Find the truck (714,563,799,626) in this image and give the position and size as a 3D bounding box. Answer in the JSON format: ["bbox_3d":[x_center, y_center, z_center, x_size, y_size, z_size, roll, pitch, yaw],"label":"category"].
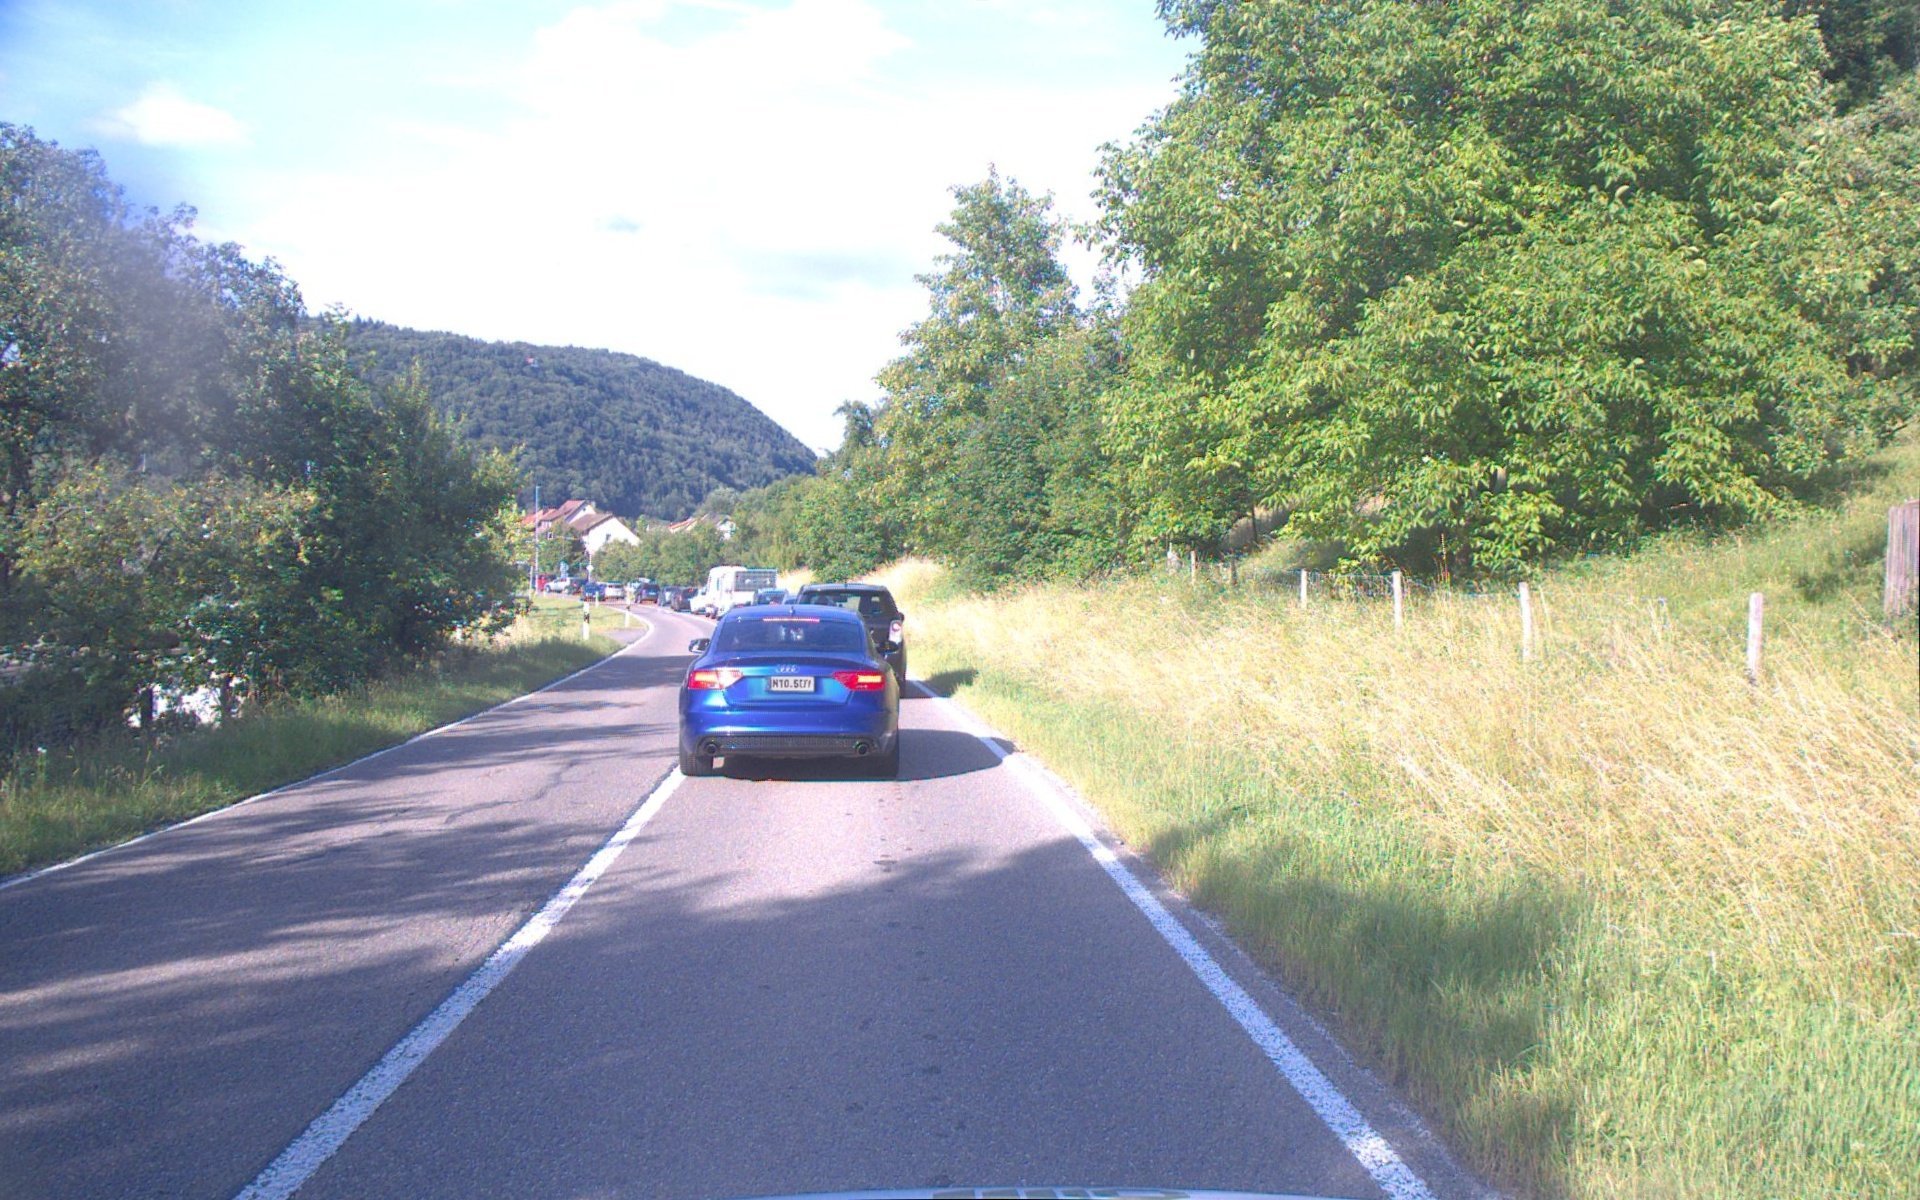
[{"bbox_3d":[-9.608,-0.262,77.085,2.815,2.712,10.358,1,0,-13],"label":"truck"}]

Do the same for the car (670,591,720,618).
[{"bbox_3d":[-15.288,0.249,95.195,1.966,1.508,3.972,1,0,-23],"label":"car"}]

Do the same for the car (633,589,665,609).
[{"bbox_3d":[-24.669,-0.060,131.256,1.963,1.508,3.978,1,0,-19],"label":"car"}]

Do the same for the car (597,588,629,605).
[{"bbox_3d":[-31.112,-0.296,148.066,1.968,1.508,3.969,1,0,-25],"label":"car"}]

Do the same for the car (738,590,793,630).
[{"bbox_3d":[-7.761,0.388,65.672,1.957,1.508,3.991,1,0,-10],"label":"car"}]

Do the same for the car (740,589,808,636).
[{"bbox_3d":[-6.285,0.414,55.615,1.958,1.508,3.989,1,0,-11],"label":"car"}]

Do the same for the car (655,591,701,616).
[{"bbox_3d":[-17.503,0.228,102.490,1.966,1.508,3.972,1,0,-23],"label":"car"}]

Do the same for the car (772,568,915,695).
[{"bbox_3d":[-1.690,0.445,24.838,1.954,1.732,3.998,1,0,-3],"label":"car"}]

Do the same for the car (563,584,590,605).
[{"bbox_3d":[-39.285,-0.566,169.270,1.967,2.049,3.971,1,0,-24],"label":"car"}]

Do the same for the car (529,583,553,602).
[{"bbox_3d":[-47.256,-0.837,186.616,1.967,2.049,3.971,1,0,-24],"label":"car"}]

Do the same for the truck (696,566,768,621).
[{"bbox_3d":[-12.286,-0.343,88.441,2.815,2.712,10.609,1,0,-13],"label":"truck"}]

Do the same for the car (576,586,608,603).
[{"bbox_3d":[-30.665,-0.432,137.857,1.966,1.400,3.972,1,0,-23],"label":"car"}]

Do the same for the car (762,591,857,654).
[{"bbox_3d":[-3.643,0.512,39.442,1.957,1.411,3.991,1,0,-10],"label":"car"}]

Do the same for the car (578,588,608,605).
[{"bbox_3d":[-34.504,-0.336,155.277,1.968,1.508,3.969,1,0,-25],"label":"car"}]

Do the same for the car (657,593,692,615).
[{"bbox_3d":[-20.718,0.281,119.939,1.963,1.508,3.978,1,0,-19],"label":"car"}]

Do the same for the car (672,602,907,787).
[{"bbox_3d":[-1.359,0.719,14.577,1.757,1.383,3.999,0,0,-2],"label":"car"}]
